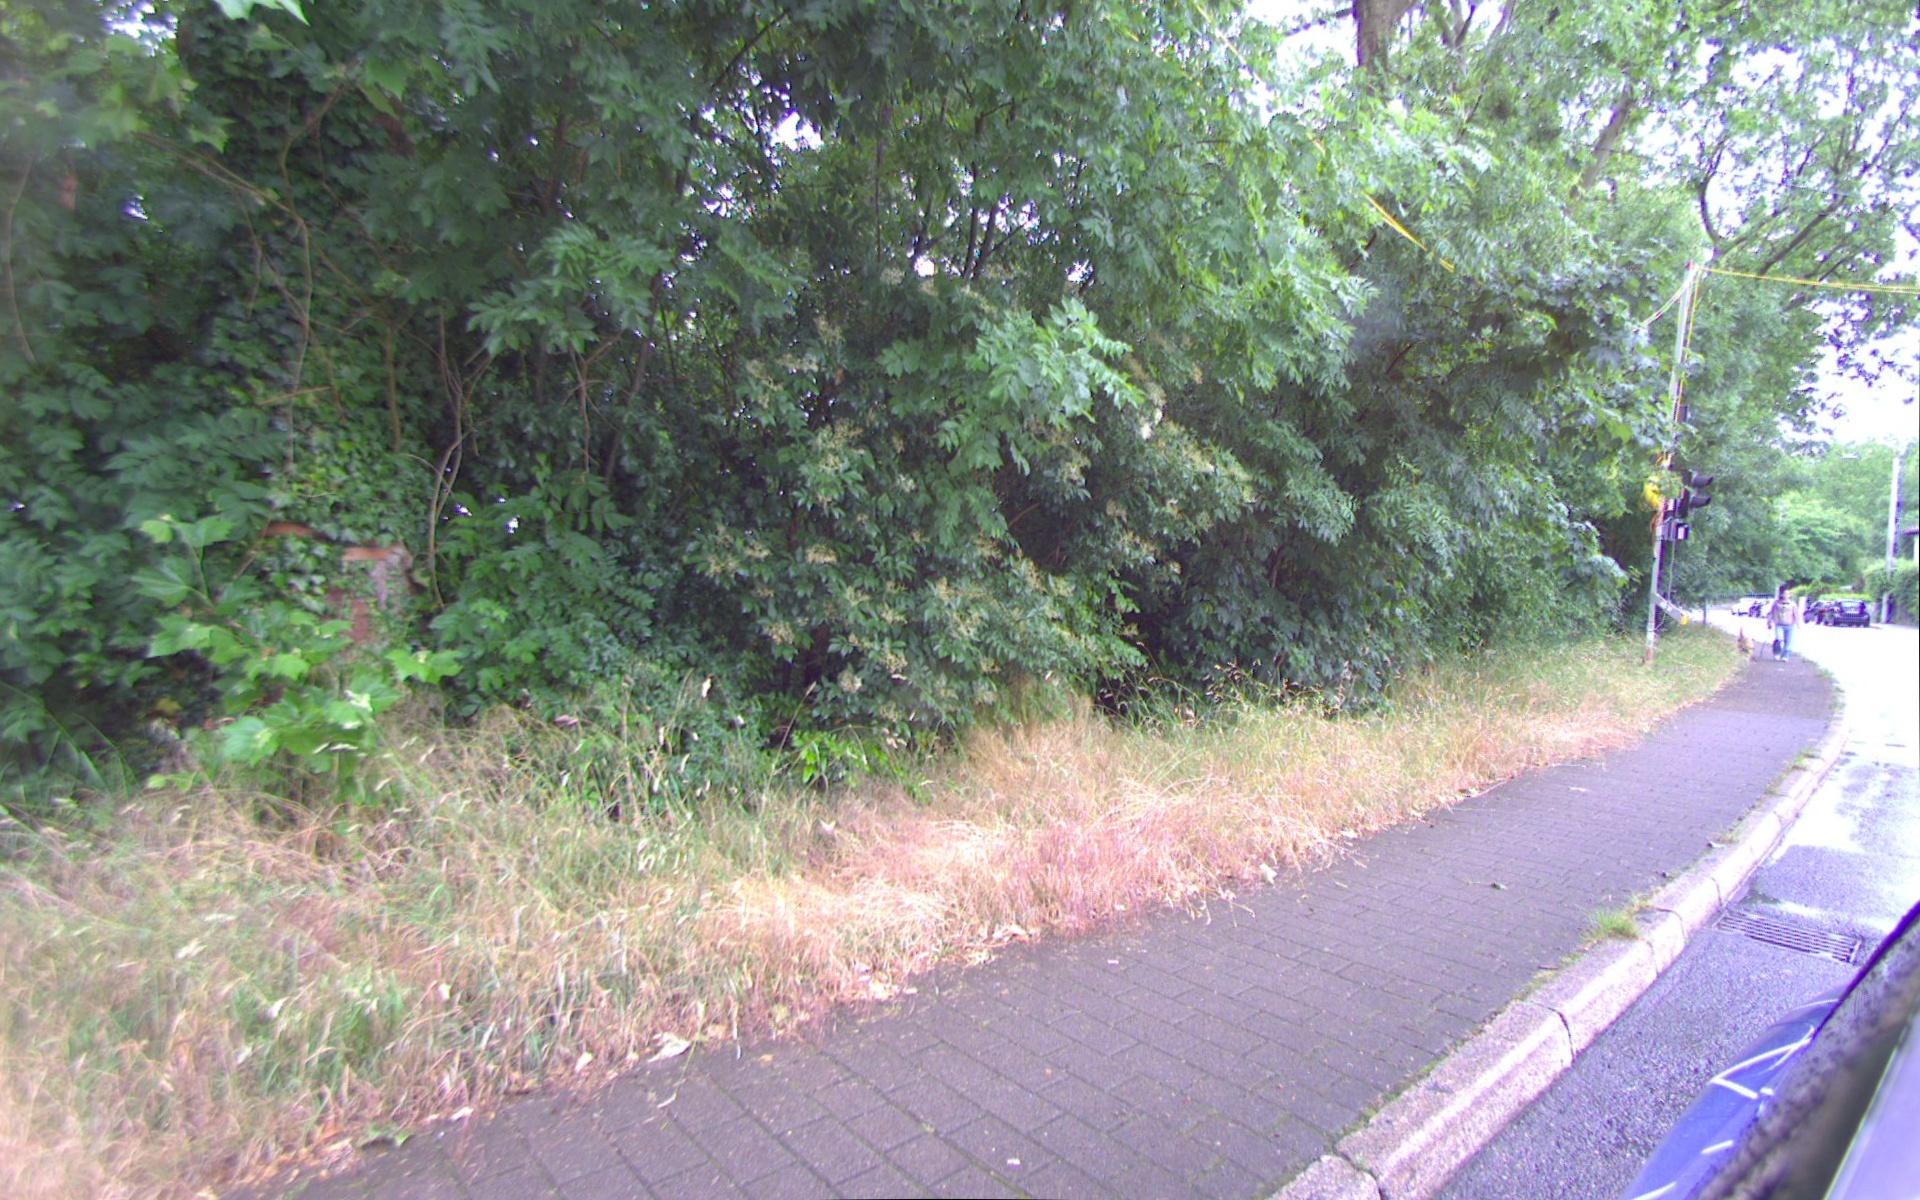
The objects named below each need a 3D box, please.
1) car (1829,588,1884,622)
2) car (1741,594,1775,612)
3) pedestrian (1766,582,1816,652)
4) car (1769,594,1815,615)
[{"bbox_3d":[51.055,0.279,57.704,1.869,1.848,4.075,1,1,35],"label":"car"},{"bbox_3d":[64.937,0.215,82.368,1.676,1.445,3.734,1,1,31],"label":"car"},{"bbox_3d":[18.685,0.377,22.761,0.771,1.518,0.734,0,-1,-42],"label":"pedestrian"},{"bbox_3d":[60.743,0.293,73.916,2.055,1.504,4.508,1,1,33],"label":"car"}]
